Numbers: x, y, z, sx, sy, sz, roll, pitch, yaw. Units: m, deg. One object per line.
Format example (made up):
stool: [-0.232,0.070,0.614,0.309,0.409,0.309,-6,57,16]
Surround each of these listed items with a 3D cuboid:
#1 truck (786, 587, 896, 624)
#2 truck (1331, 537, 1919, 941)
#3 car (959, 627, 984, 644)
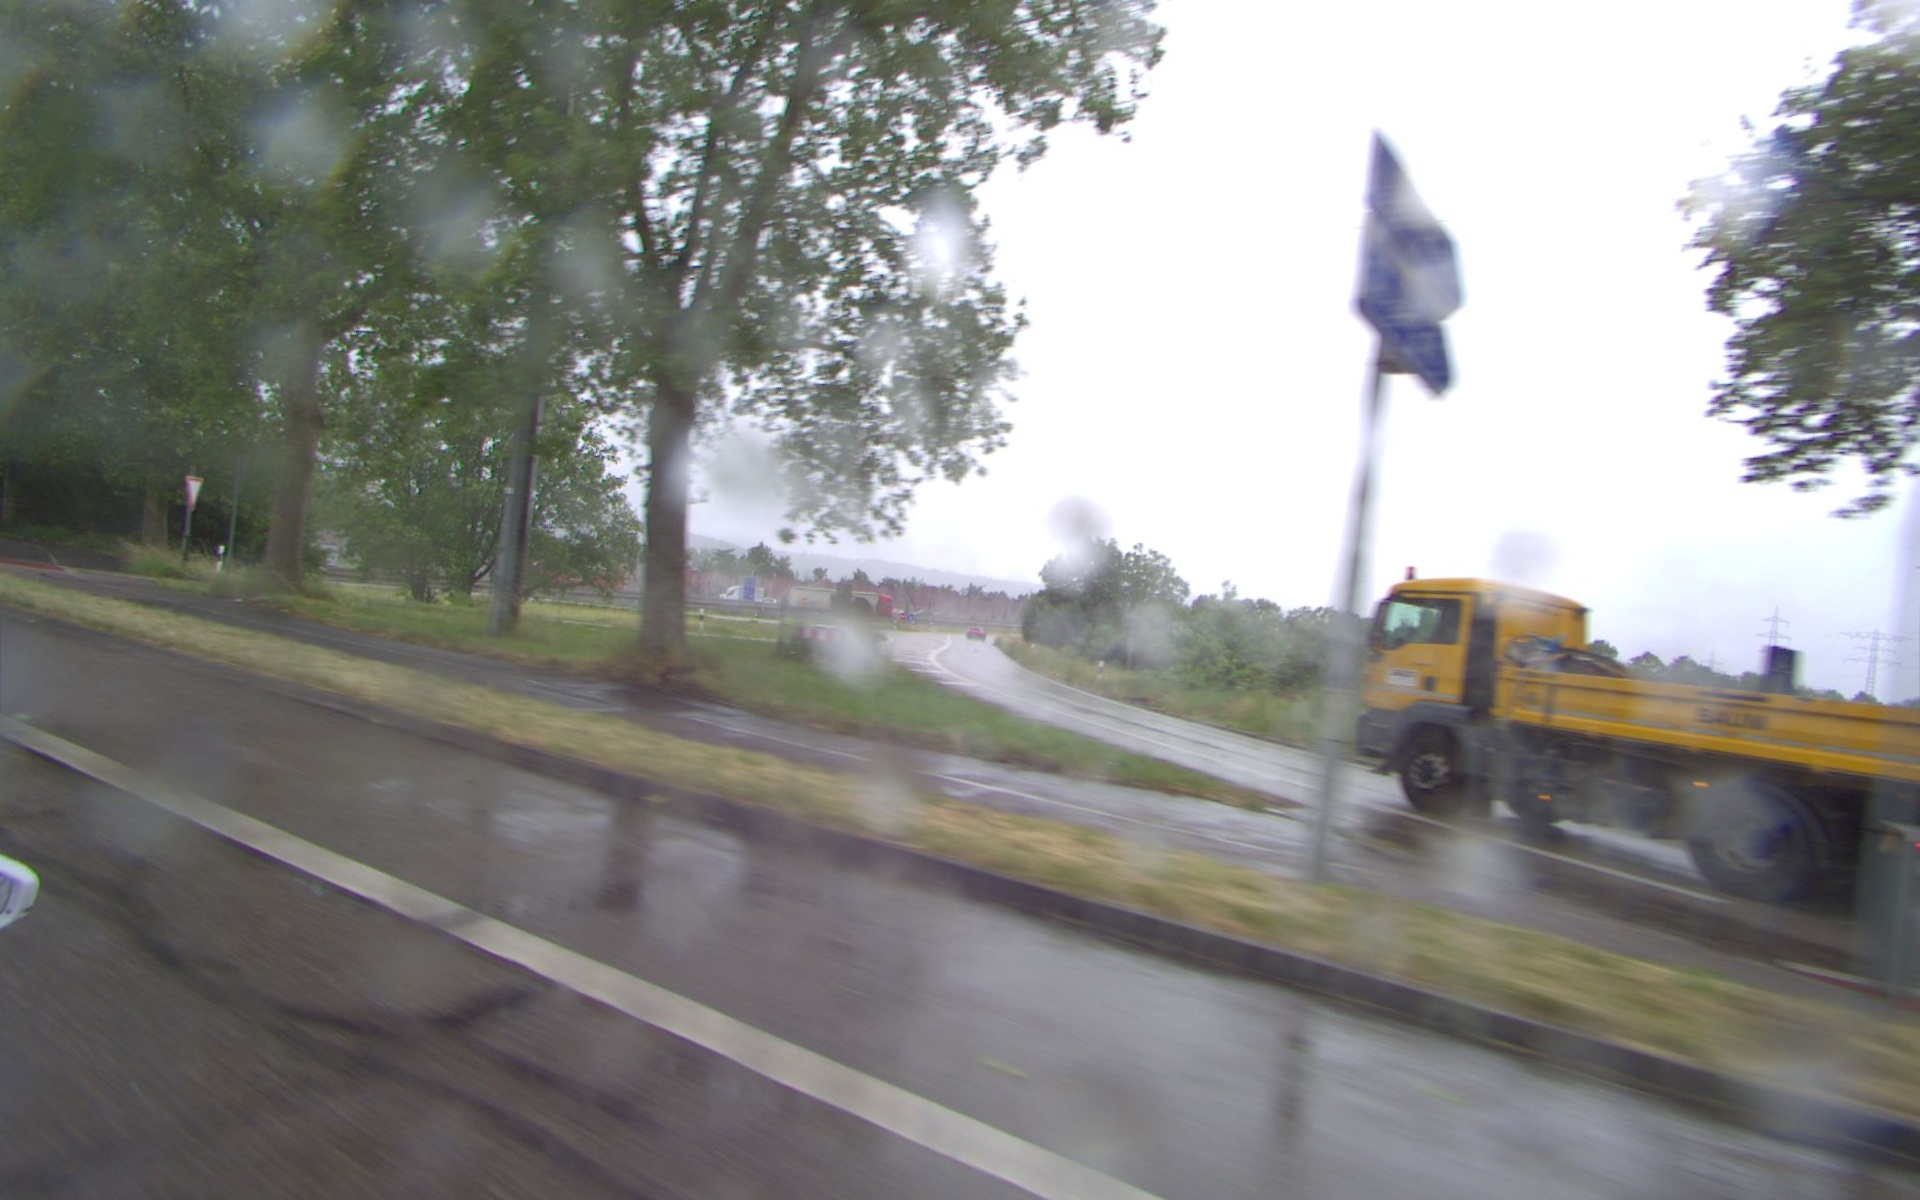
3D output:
truck: [-18.085,0.837,154.392,16.582,4.211,3.266,5,1,-30]
truck: [7.918,1.222,11.505,2.531,3.295,6.897,9,-2,-22]
car: [1.218,3.733,105.865,1.651,1.436,3.611,8,-2,16]
